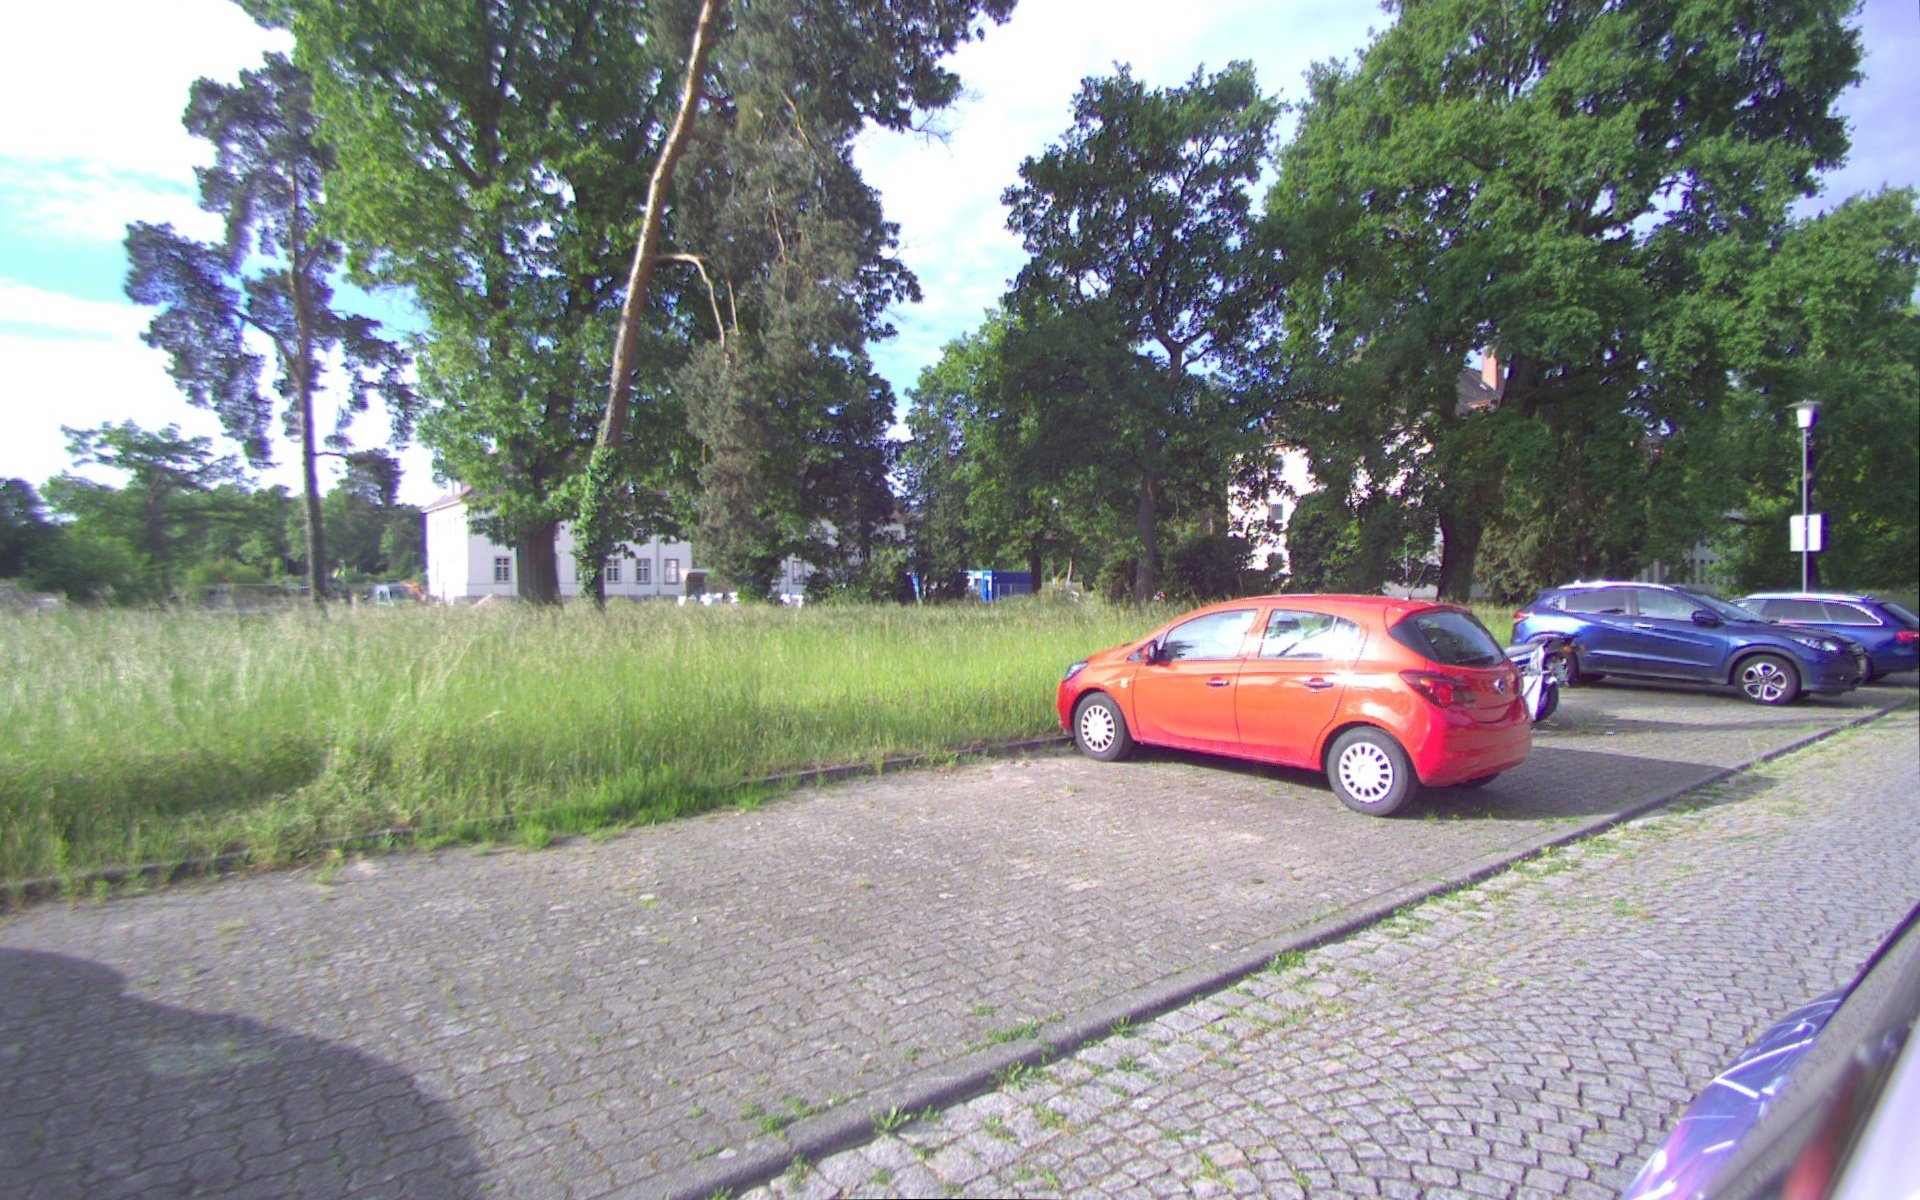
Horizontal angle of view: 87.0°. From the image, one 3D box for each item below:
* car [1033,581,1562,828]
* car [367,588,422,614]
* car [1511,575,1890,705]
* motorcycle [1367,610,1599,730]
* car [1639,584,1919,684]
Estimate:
[{"bbox_3d":[2.538,0.621,8.385,1.657,1.491,3.886,-2,2,-39],"label":"car"},{"bbox_3d":[-47.151,0.055,84.288,2.591,2.039,5.648,-2,1,-45],"label":"car"},{"bbox_3d":[10.489,0.441,14.612,1.715,1.588,4.135,-2,2,-39],"label":"car"},{"bbox_3d":[5.822,0.724,11.441,0.596,1.127,2.308,-1,2,-37],"label":"motorcycle"},{"bbox_3d":[14.244,0.491,17.299,1.750,1.468,4.038,-2,2,-36],"label":"car"}]
